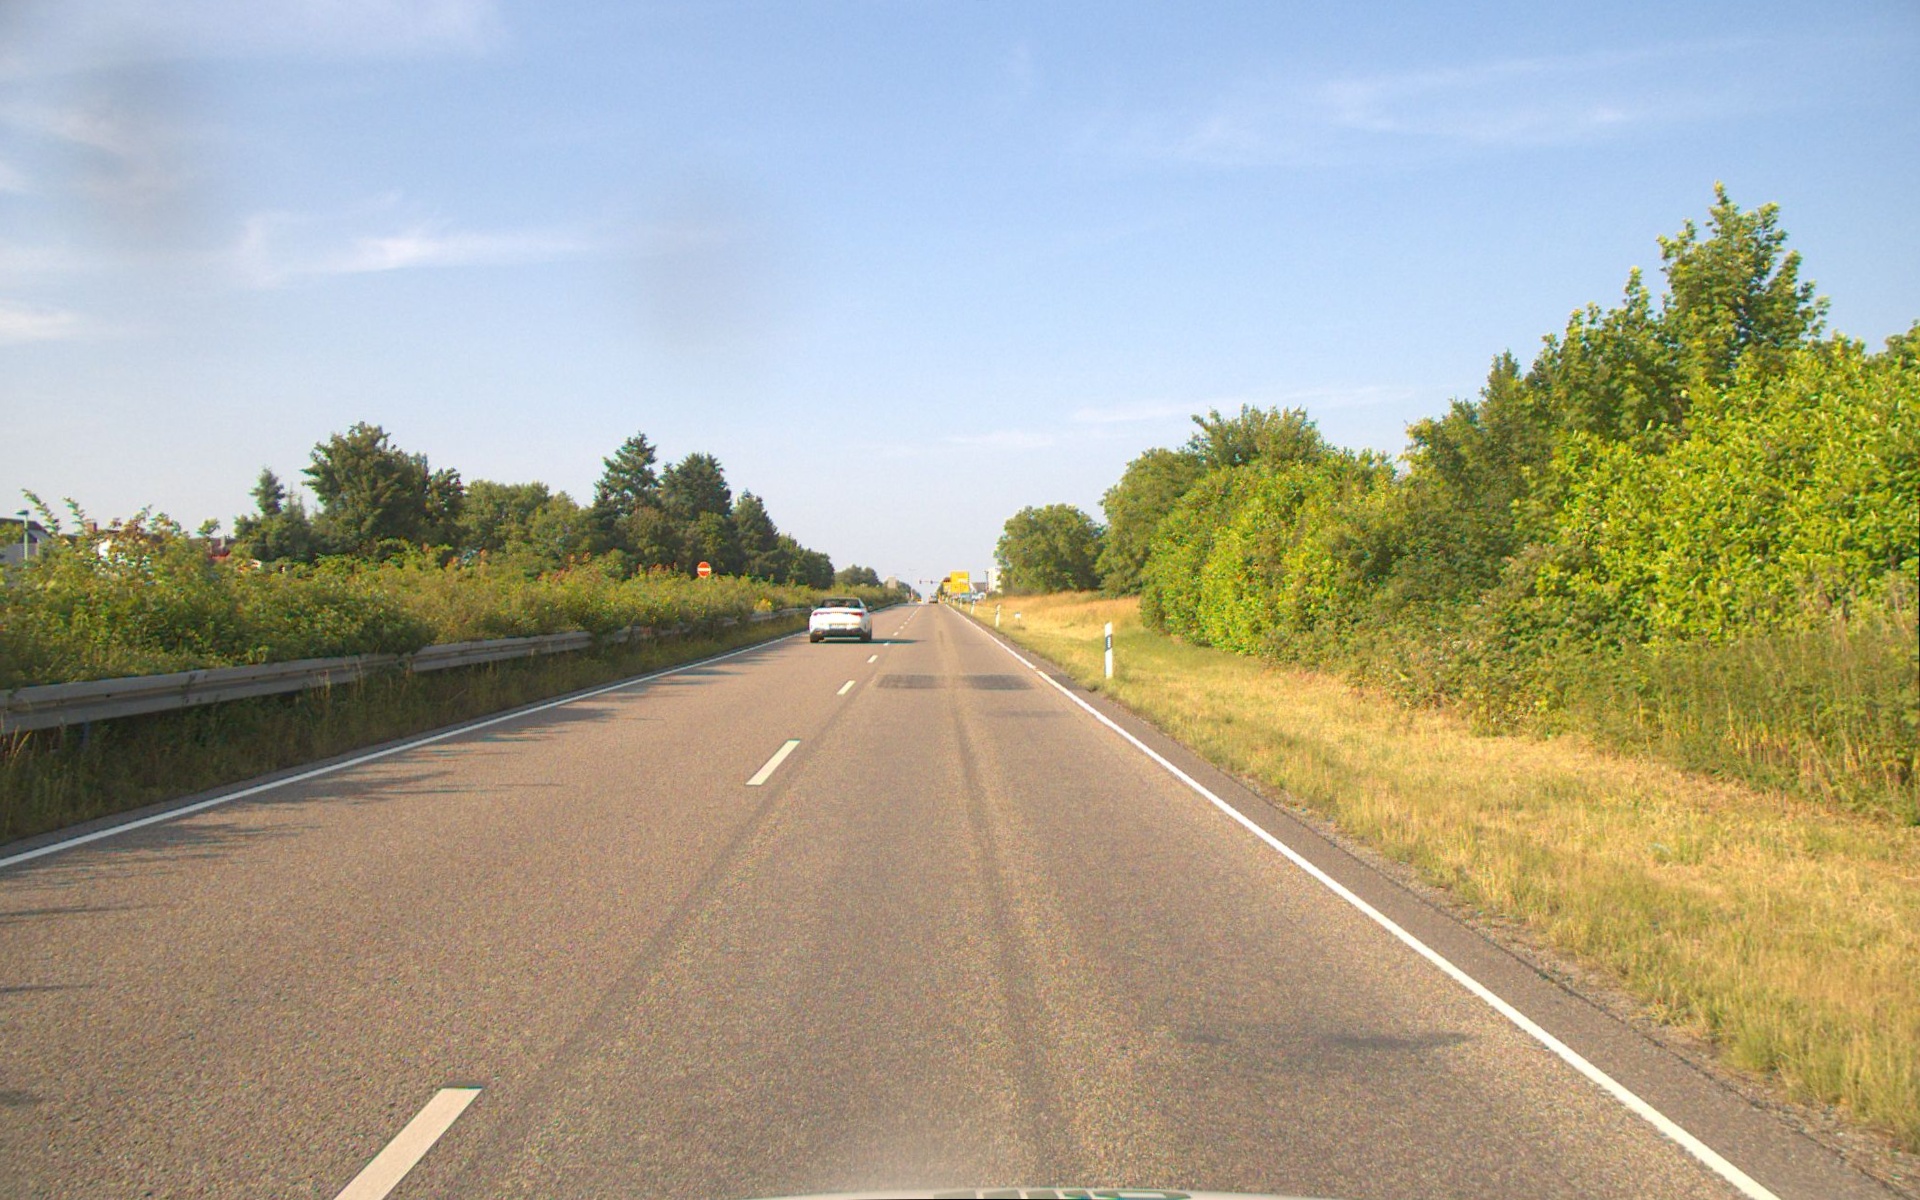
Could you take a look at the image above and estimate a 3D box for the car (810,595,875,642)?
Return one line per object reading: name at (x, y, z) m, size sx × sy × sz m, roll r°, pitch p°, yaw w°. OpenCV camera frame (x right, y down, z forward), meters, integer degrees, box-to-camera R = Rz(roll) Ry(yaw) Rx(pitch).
car at (-3.677, 0.568, 52.370) m, size 1.735 × 1.361 × 4.949 m, roll 1°, pitch 0°, yaw -1°
